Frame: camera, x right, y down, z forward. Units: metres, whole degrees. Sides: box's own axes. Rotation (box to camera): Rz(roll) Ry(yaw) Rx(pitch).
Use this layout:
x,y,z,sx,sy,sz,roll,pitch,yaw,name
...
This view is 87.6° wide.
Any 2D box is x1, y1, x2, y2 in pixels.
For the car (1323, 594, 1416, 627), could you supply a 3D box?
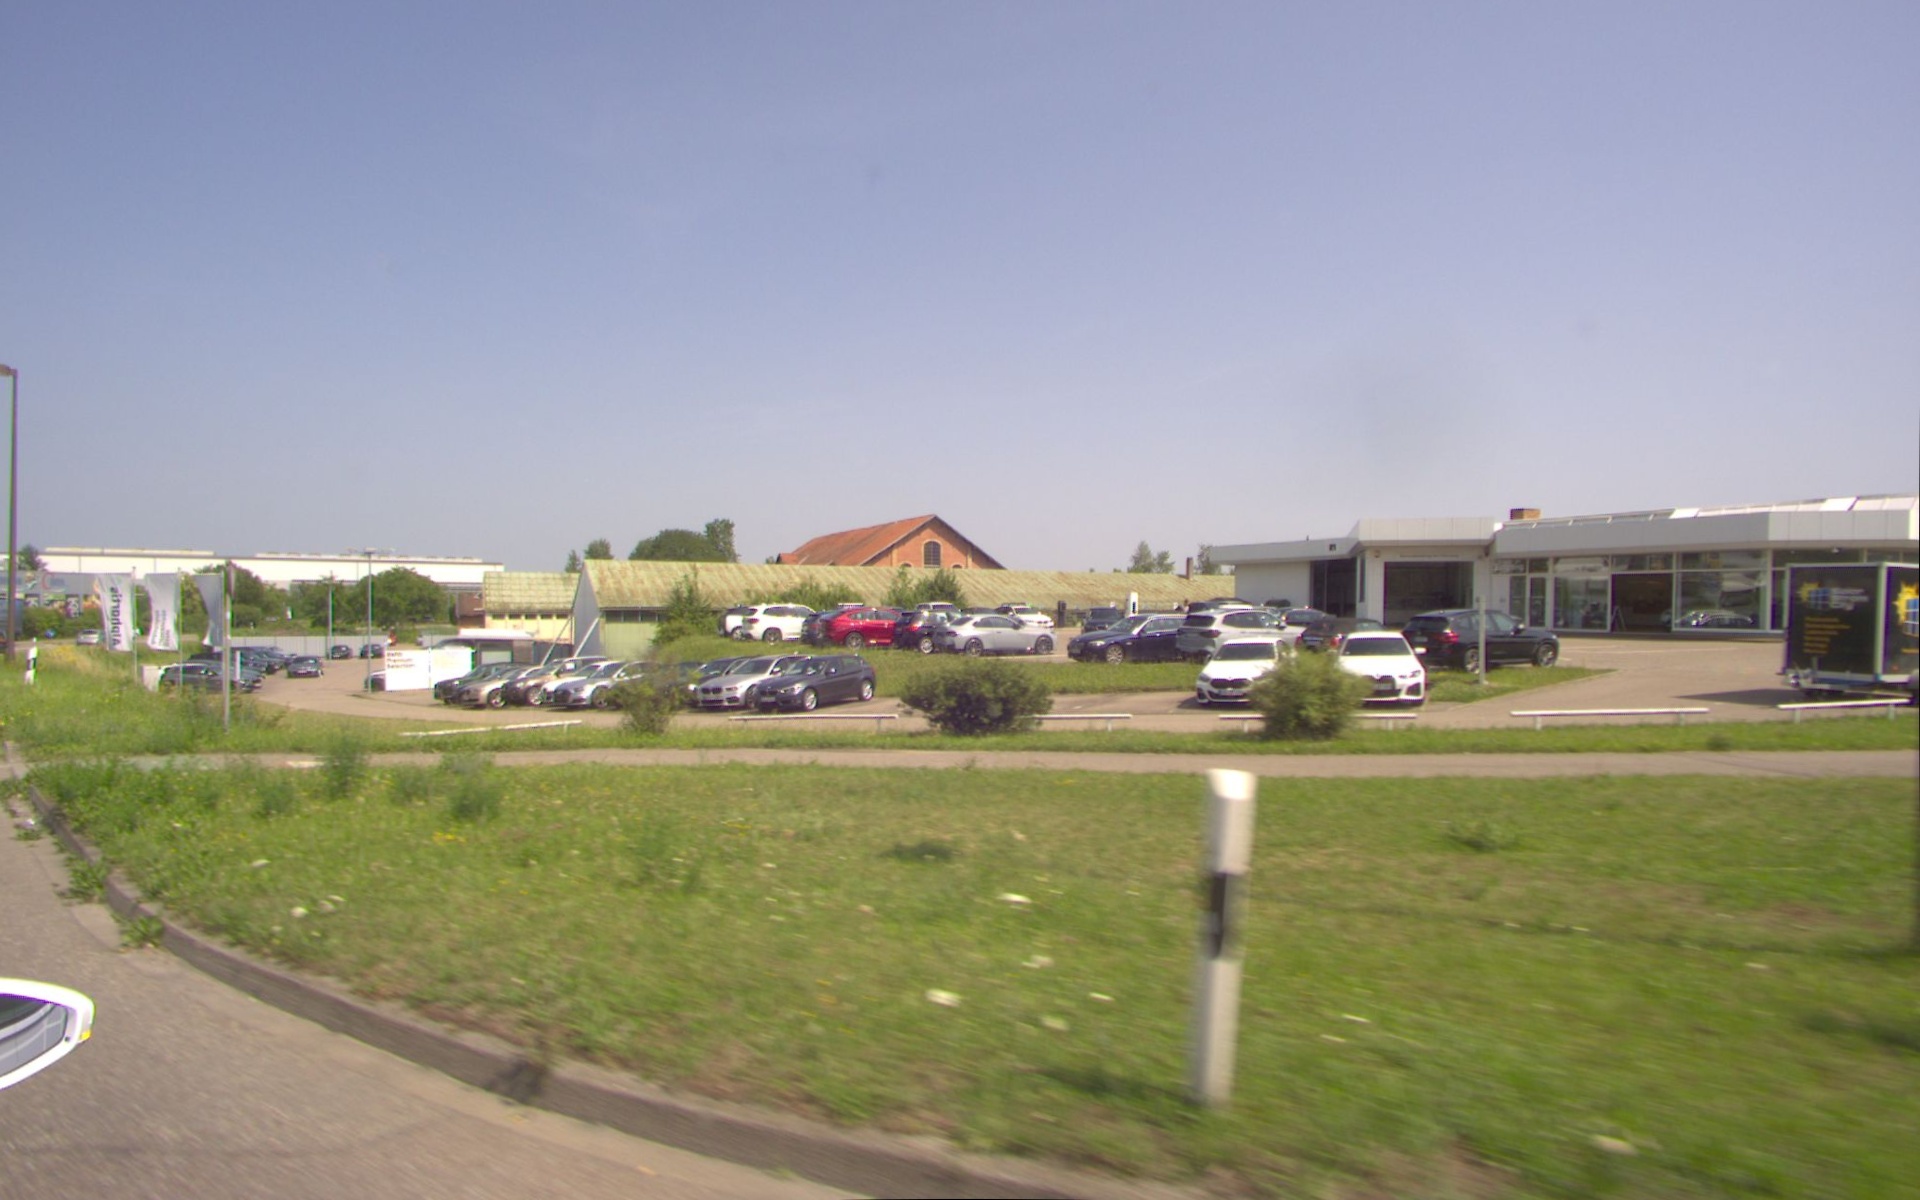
x,y,z,sx,sy,sz,roll,pitch,yaw,name
16.942,0.428,41.453,3.299,1.292,1.647,0,0,36,car

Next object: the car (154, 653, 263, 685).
x,y,z,sx,sy,sz,roll,pitch,yaw,name
-38.537,3.544,51.437,4.093,1.542,1.690,1,-2,-9,car

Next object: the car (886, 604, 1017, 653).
x,y,z,sx,sy,sz,roll,pitch,yaw,name
-0.290,1.006,36.345,4.402,1.656,1.940,0,0,-29,car

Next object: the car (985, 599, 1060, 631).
x,y,z,sx,sy,sz,roll,pitch,yaw,name
3.300,0.806,53.475,2.161,1.617,4.287,0,-1,-26,car

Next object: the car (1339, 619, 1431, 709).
x,y,z,sx,sy,sz,roll,pitch,yaw,name
9.554,1.333,22.687,1.738,1.592,4.651,0,2,22,car

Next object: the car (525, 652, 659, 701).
x,y,z,sx,sy,sz,roll,pitch,yaw,name
-13.545,2.805,37.018,1.854,1.484,4.225,-4,-2,42,car

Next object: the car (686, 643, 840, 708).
x,y,z,sx,sy,sz,roll,pitch,yaw,name
-5.902,2.256,30.509,1.897,1.586,4.545,-4,-1,34,car

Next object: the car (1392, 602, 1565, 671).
x,y,z,sx,sy,sz,roll,pitch,yaw,name
13.738,0.925,26.481,4.359,1.519,1.941,-3,0,-29,car

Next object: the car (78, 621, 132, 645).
x,y,z,sx,sy,sz,roll,pitch,yaw,name
-76.819,2.991,89.990,1.963,2.039,3.998,1,-2,-12,car

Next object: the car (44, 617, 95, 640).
x,y,z,sx,sy,sz,roll,pitch,yaw,name
-79.632,2.582,89.608,1.965,2.039,3.993,1,-2,-18,car

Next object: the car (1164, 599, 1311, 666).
x,y,z,sx,sy,sz,roll,pitch,yaw,name
8.199,0.918,29.555,3.949,1.774,1.940,-1,1,-29,car

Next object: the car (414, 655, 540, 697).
x,y,z,sx,sy,sz,roll,pitch,yaw,name
-20.933,3.279,43.548,2.122,1.660,4.464,-3,-3,38,car

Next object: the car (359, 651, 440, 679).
x,y,z,sx,sy,sz,roll,pitch,yaw,name
-32.658,3.794,58.425,3.905,1.542,1.747,1,-2,-21,car

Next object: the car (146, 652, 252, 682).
x,y,z,sx,sy,sz,roll,pitch,yaw,name
-40.648,3.563,53.576,4.096,1.542,1.750,1,-2,-13,car

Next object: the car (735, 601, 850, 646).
x,y,z,sx,sy,sz,roll,pitch,yaw,name
-6.955,0.937,41.652,4.402,1.770,1.830,0,0,-29,car

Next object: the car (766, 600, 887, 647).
x,y,z,sx,sy,sz,roll,pitch,yaw,name
-5.284,0.912,39.773,4.402,1.770,1.830,0,0,-29,car

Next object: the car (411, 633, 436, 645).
x,y,z,sx,sy,sz,roll,pitch,yaw,name
-68.179,4.960,127.248,1.965,1.415,3.995,1,-2,-16,car

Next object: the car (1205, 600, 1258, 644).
x,y,z,sx,sy,sz,roll,pitch,yaw,name
10.612,0.831,39.321,1.626,1.607,4.266,0,0,10,car

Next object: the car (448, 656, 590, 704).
x,y,z,sx,sy,sz,roll,pitch,yaw,name
-17.426,3.145,39.772,1.979,1.527,4.740,-4,-2,42,car

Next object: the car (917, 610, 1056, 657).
x,y,z,sx,sy,sz,roll,pitch,yaw,name
0.925,1.112,34.441,4.402,1.520,1.940,0,0,-29,car

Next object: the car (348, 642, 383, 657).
x,y,z,sx,sy,sz,roll,pitch,yaw,name
-58.100,4.858,97.894,1.965,1.415,3.995,1,-2,-16,car

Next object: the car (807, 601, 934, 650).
x,y,z,sx,sy,sz,roll,pitch,yaw,name
-3.383,0.921,38.066,4.402,1.770,1.940,0,0,-29,car

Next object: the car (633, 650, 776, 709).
x,y,z,sx,sy,sz,roll,pitch,yaw,name
-8.088,2.507,32.037,1.897,1.501,4.236,-4,-1,34,car

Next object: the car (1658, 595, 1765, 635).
x,y,z,sx,sy,sz,roll,pitch,yaw,name
31.683,0.616,42.228,3.975,1.607,1.903,0,0,-23,car

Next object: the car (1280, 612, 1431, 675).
x,y,z,sx,sy,sz,roll,pitch,yaw,name
11.190,1.175,28.310,3.949,1.520,1.940,-2,2,-29,car

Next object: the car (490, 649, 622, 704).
x,y,z,sx,sy,sz,roll,pitch,yaw,name
-15.388,2.885,38.287,1.979,1.770,4.224,-4,-2,42,car

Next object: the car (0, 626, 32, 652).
x,y,z,sx,sy,sz,roll,pitch,yaw,name
-56.474,2.282,58.945,1.809,1.489,4.387,2,-2,-31,car

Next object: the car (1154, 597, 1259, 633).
x,y,z,sx,sy,sz,roll,pitch,yaw,name
11.260,0.665,45.705,4.396,1.542,1.943,0,0,-24,car

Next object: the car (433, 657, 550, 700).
x,y,z,sx,sy,sz,roll,pitch,yaw,name
-19.466,3.241,41.727,1.976,1.571,3.971,-4,-3,38,car

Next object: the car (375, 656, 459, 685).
x,y,z,sx,sy,sz,roll,pitch,yaw,name
-30.106,3.898,55.641,3.735,1.542,1.750,1,-2,-15,car

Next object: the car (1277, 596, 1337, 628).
x,y,z,sx,sy,sz,roll,pitch,yaw,name
12.915,0.445,37.202,1.604,1.124,2.940,0,0,30,car

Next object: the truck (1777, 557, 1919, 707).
x,y,z,sx,sy,sz,roll,pitch,yaw,name
19.021,0.579,19.922,5.535,2.700,1.943,0,0,-23,truck

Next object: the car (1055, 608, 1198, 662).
x,y,z,sx,sy,sz,roll,pitch,yaw,name
5.119,1.040,30.803,3.943,1.546,1.943,0,0,-23,car

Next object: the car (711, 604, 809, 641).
x,y,z,sx,sy,sz,roll,pitch,yaw,name
-8.675,0.949,43.457,3.830,1.553,1.760,0,0,-29,car

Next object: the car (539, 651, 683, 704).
x,y,z,sx,sy,sz,roll,pitch,yaw,name
-12.052,2.665,34.856,1.898,1.484,4.408,-4,-1,34,car

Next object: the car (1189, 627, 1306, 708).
x,y,z,sx,sy,sz,roll,pitch,yaw,name
6.846,1.508,23.510,1.741,1.591,4.559,-2,-1,28,car

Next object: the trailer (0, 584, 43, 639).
x,y,z,sx,sy,sz,roll,pitch,yaw,name
-77.792,0.969,80.691,2.641,4.294,14.492,2,-3,-30,trailer

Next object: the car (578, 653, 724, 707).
x,y,z,sx,sy,sz,roll,pitch,yaw,name
-10.221,2.623,33.351,1.903,1.430,4.224,-4,-1,42,car

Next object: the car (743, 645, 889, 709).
x,y,z,sx,sy,sz,roll,pitch,yaw,name
-4.023,2.155,28.788,1.757,1.439,4.553,-4,-1,28,car

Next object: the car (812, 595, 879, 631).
x,y,z,sx,sy,sz,roll,pitch,yaw,name
-5.593,0.624,48.304,1.893,1.617,4.287,0,0,-26,car

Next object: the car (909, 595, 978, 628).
x,y,z,sx,sy,sz,roll,pitch,yaw,name
-0.900,0.590,51.100,1.893,1.617,4.287,0,0,-26,car

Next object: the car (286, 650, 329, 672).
x,y,z,sx,sy,sz,roll,pitch,yaw,name
-45.865,4.259,70.417,2.111,1.475,4.512,2,-2,-28,car

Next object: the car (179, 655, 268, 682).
x,y,z,sx,sy,sz,roll,pitch,yaw,name
-50.424,4.689,68.630,4.555,1.723,1.855,1,0,-8,car
